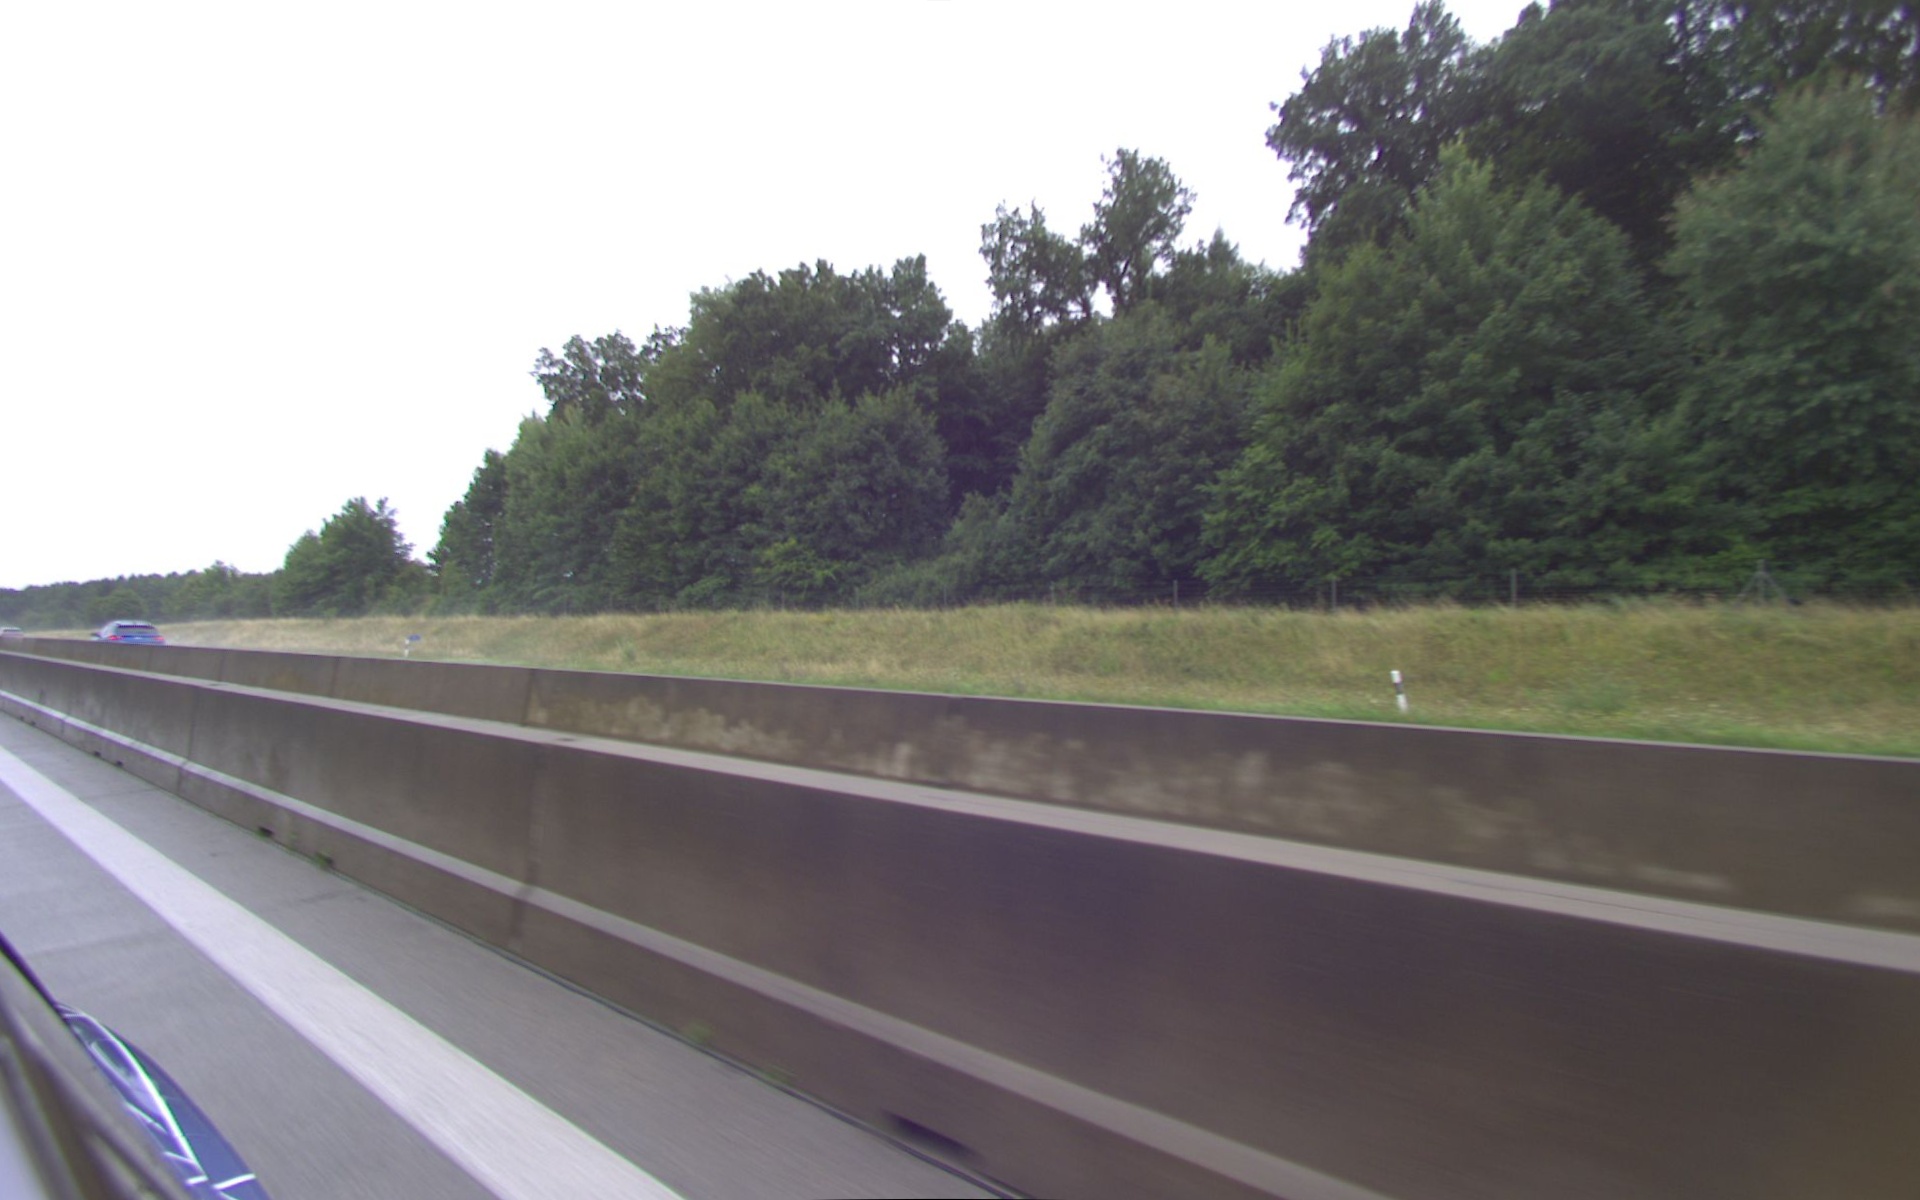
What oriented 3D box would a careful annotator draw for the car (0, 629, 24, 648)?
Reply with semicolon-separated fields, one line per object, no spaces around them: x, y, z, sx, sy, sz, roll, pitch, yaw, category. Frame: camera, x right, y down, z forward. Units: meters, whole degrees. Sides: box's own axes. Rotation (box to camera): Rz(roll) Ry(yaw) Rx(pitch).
-87.169;3.544;92.512;4.685;1.678;1.860;-2;-3;41;car

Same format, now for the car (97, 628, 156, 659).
-48.278;2.483;58.575;4.685;1.678;1.860;-1;-3;41;car

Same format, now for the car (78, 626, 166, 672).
-31.176;1.775;37.592;4.685;1.587;1.754;-1;-3;41;car
